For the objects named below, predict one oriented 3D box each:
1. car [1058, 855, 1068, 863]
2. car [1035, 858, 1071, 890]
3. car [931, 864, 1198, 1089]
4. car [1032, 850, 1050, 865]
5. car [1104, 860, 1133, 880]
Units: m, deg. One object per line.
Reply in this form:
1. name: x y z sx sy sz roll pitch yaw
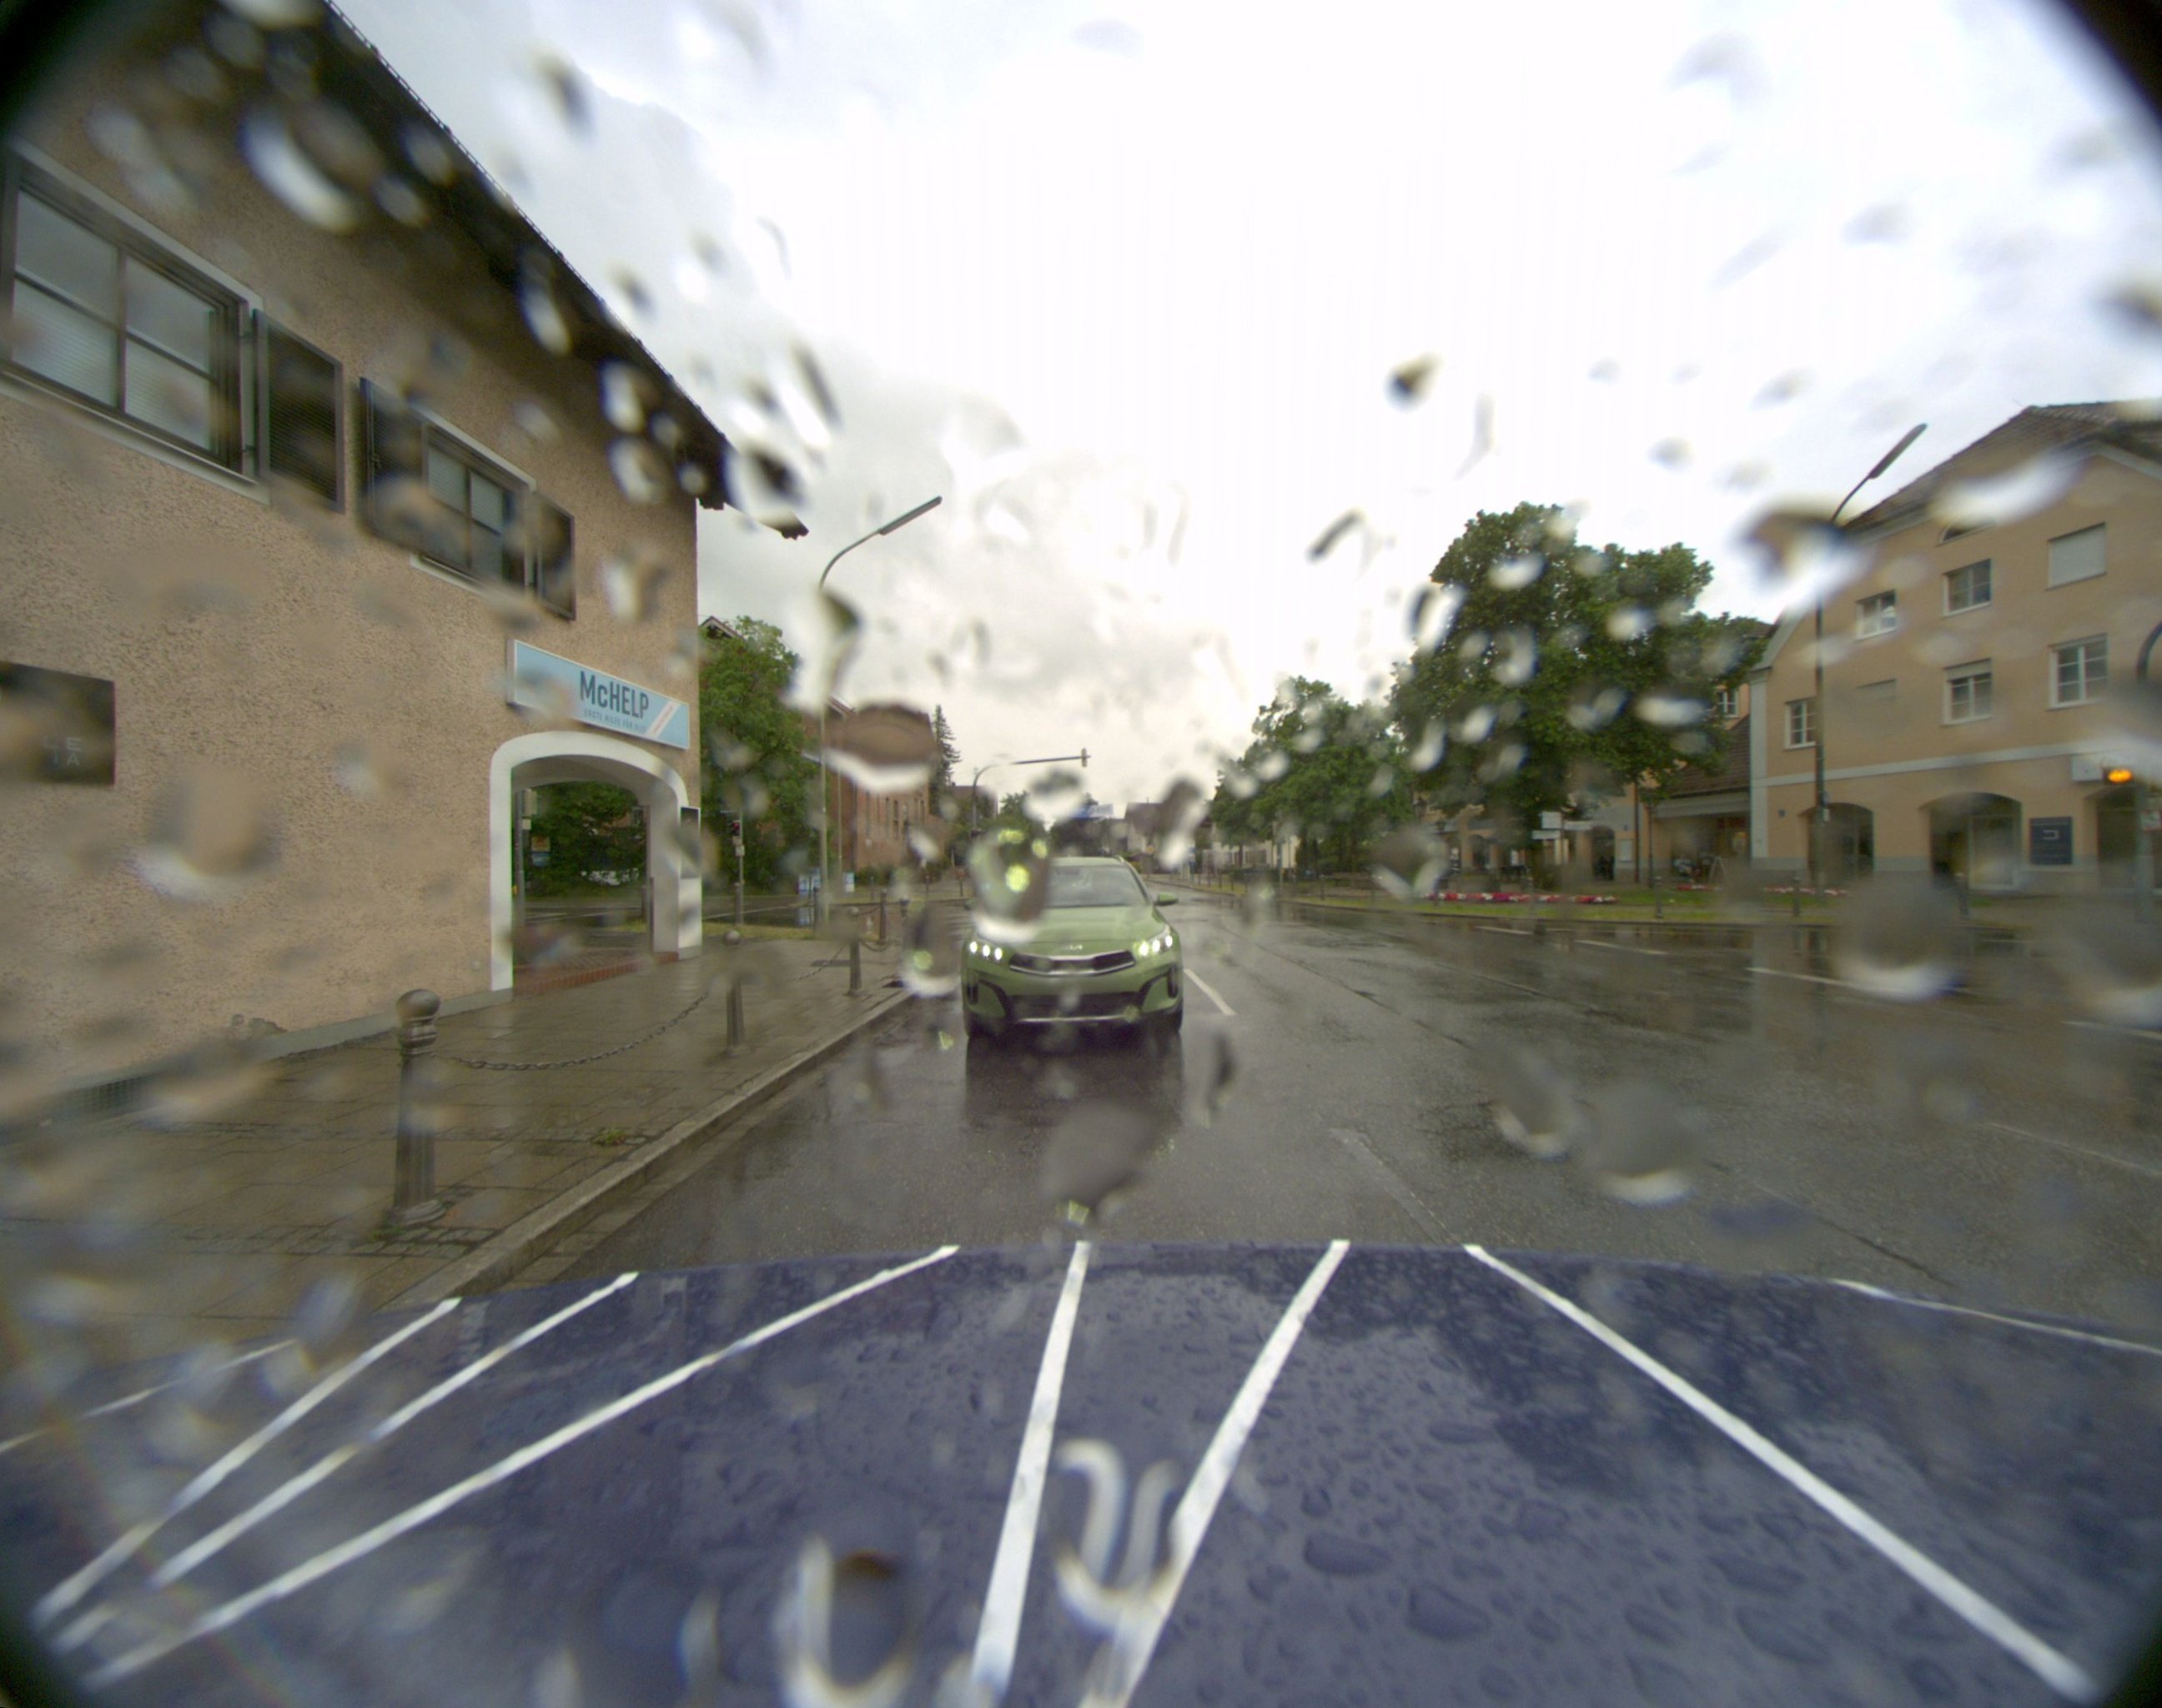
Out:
1. car: -3.798 1.084 157.840 1.810 1.677 3.998 -1 0 -4
2. car: -1.461 0.949 38.608 1.736 1.489 4.609 0 0 -3
3. car: -0.087 0.899 7.438 1.872 1.505 4.104 -1 0 1
4. car: -5.260 0.456 100.160 2.218 1.977 4.952 0 0 -5
5. car: 2.796 1.178 57.546 1.873 1.447 4.103 -1 0 -2
